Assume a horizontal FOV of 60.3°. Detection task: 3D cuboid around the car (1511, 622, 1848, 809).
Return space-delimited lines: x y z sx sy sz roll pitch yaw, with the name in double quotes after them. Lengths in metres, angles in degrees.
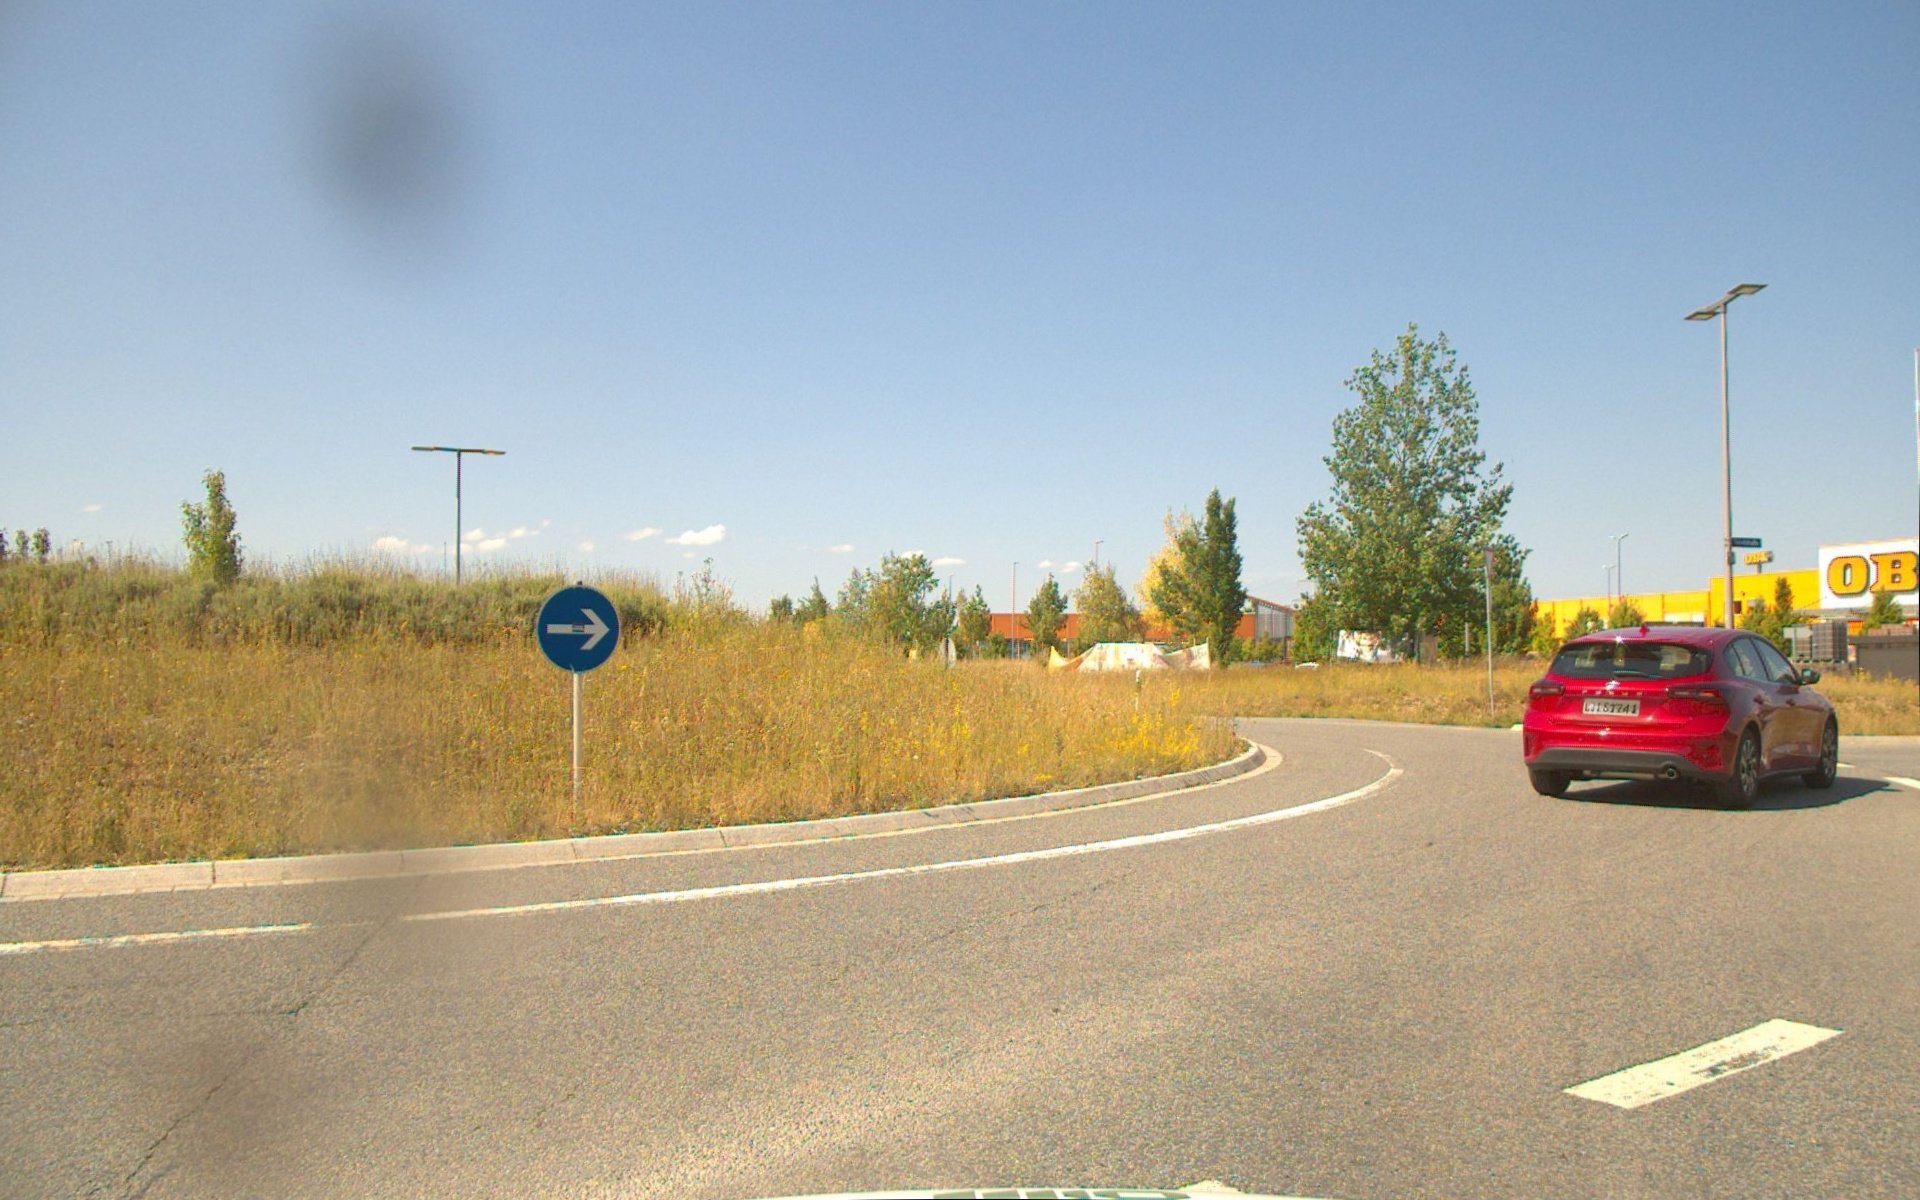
6.584 0.926 14.892 1.774 1.441 4.097 -1 -1 39 "car"
